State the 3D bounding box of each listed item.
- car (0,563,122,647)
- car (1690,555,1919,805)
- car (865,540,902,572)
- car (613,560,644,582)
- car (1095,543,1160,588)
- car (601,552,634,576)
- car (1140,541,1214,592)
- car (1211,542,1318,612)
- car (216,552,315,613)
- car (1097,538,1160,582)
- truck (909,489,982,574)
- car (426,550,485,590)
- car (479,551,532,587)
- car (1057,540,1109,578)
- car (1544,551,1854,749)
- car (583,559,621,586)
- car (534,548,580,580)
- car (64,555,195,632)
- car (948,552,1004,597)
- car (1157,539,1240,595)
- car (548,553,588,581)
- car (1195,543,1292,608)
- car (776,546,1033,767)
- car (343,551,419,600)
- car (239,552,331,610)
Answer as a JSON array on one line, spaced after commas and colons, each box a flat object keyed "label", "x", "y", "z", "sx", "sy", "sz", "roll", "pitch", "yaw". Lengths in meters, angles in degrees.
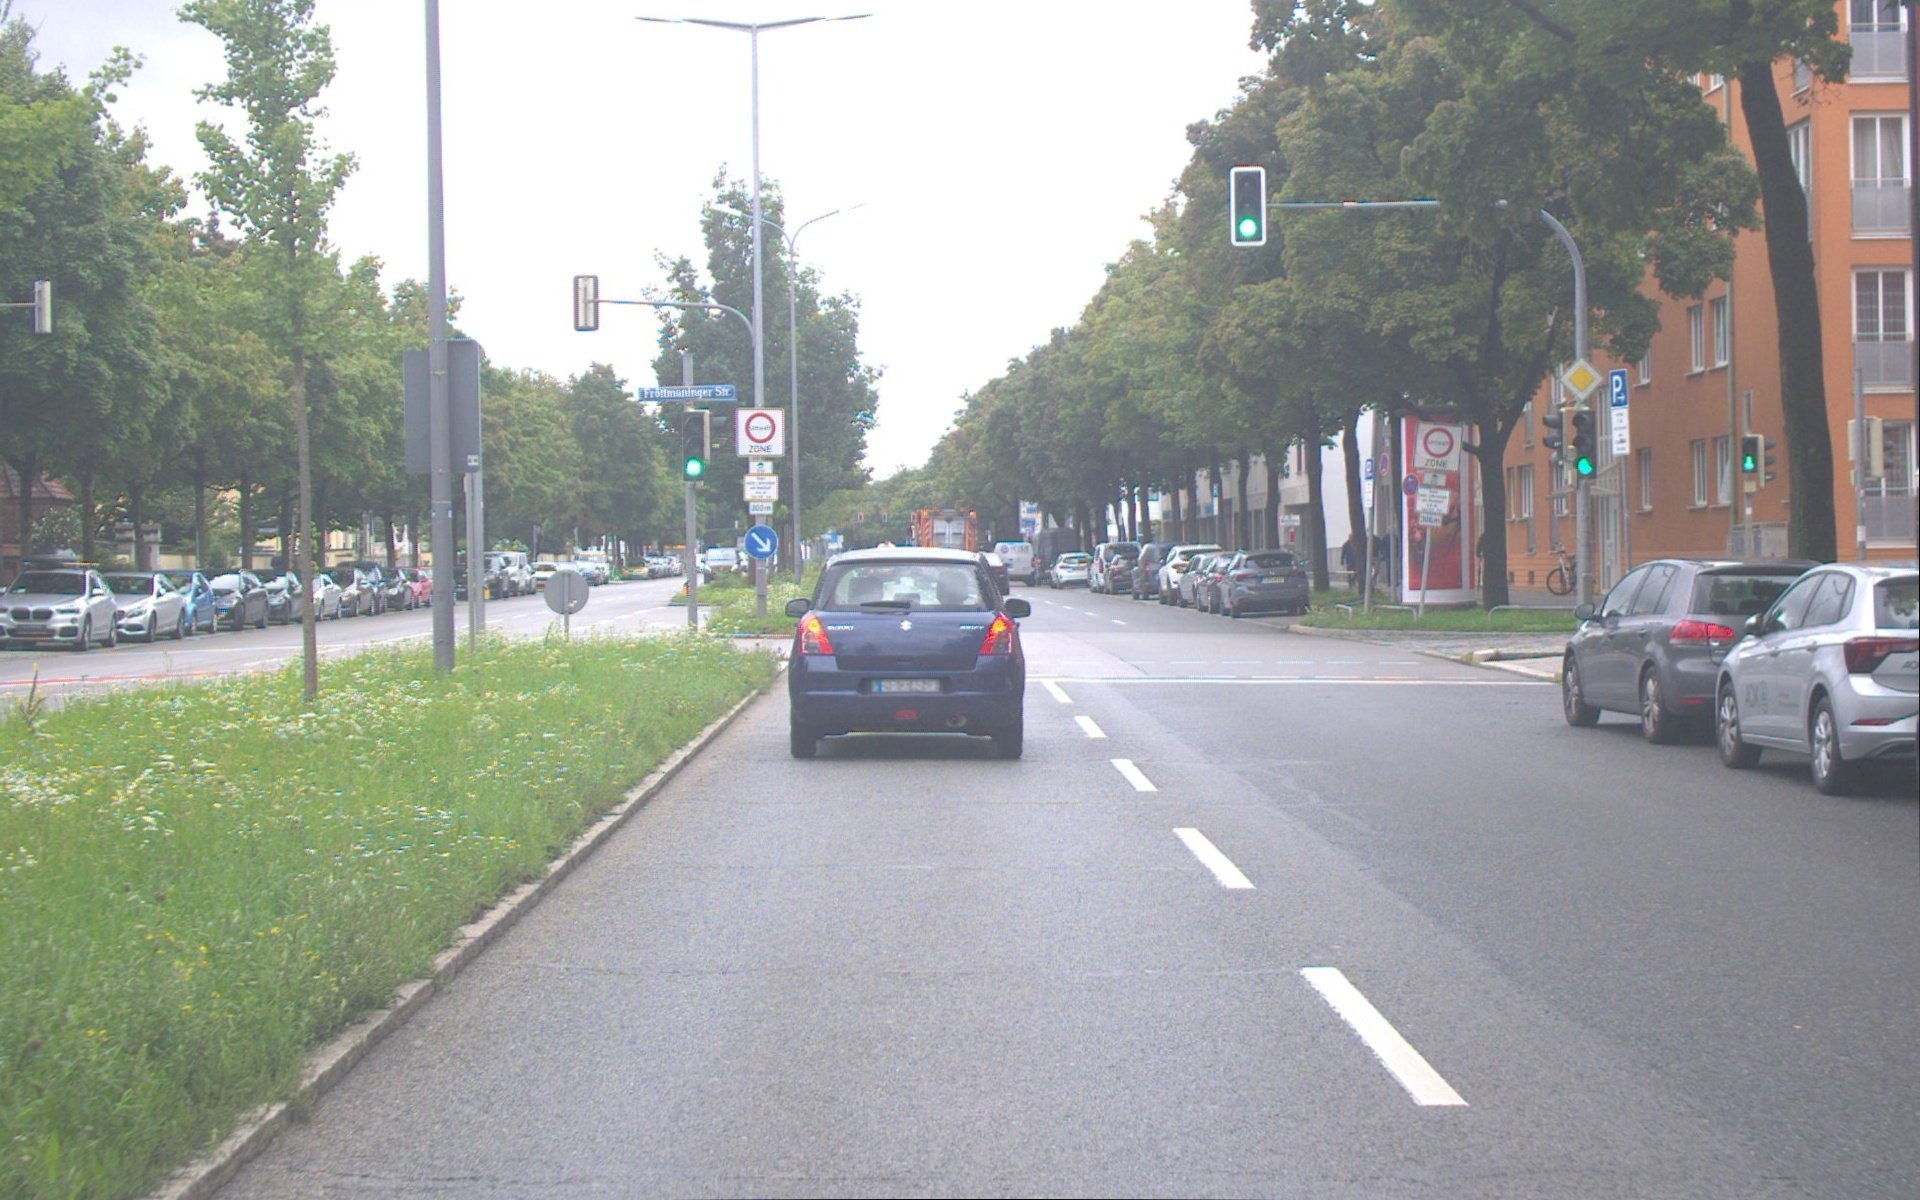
[{"label": "car", "x": -17.507, "y": 0.077, "z": 66.167, "sx": 1.801, "sy": 1.529, "sz": 4.000, "roll": -1, "pitch": 1, "yaw": -1}, {"label": "car", "x": 6.023, "y": 0.449, "z": 22.453, "sx": 1.695, "sy": 1.447, "sz": 4.123, "roll": -1, "pitch": 1, "yaw": 1}, {"label": "car", "x": -3.635, "y": -2.107, "z": 164.383, "sx": 1.718, "sy": 1.495, "sz": 4.301, "roll": 0, "pitch": 1, "yaw": -1}, {"label": "car", "x": -23.529, "y": -2.062, "z": 243.972, "sx": 1.801, "sy": 1.529, "sz": 4.000, "roll": -1, "pitch": 1, "yaw": -1}, {"label": "car", "x": 5.797, "y": -1.216, "z": 119.454, "sx": 1.993, "sy": 1.525, "sz": 4.000, "roll": -1, "pitch": 1, "yaw": -1}, {"label": "car", "x": -22.232, "y": -2.364, "z": 223.296, "sx": 1.801, "sy": 1.529, "sz": 4.000, "roll": -1, "pitch": 1, "yaw": -1}, {"label": "car", "x": 6.727, "y": -1.063, "z": 106.845, "sx": 1.993, "sy": 1.525, "sz": 4.000, "roll": -1, "pitch": 1, "yaw": -1}, {"label": "car", "x": 6.878, "y": -0.535, "z": 78.009, "sx": 1.993, "sy": 1.525, "sz": 4.000, "roll": -1, "pitch": 1, "yaw": -1}, {"label": "car", "x": -18.173, "y": -0.481, "z": 90.111, "sx": 1.801, "sy": 1.529, "sz": 4.000, "roll": -1, "pitch": 1, "yaw": -1}, {"label": "car", "x": 6.064, "y": -1.451, "z": 124.198, "sx": 1.993, "sy": 1.525, "sz": 4.000, "roll": -1, "pitch": 1, "yaw": -1}, {"label": "truck", "x": -0.576, "y": -2.965, "z": 149.171, "sx": 3.041, "sy": 3.545, "sz": 13.675, "roll": 0, "pitch": 1, "yaw": 0}, {"label": "car", "x": -20.060, "y": -1.221, "z": 136.828, "sx": 1.801, "sy": 1.529, "sz": 4.000, "roll": -1, "pitch": 1, "yaw": -1}, {"label": "car", "x": -19.794, "y": -1.348, "z": 149.771, "sx": 1.801, "sy": 1.529, "sz": 4.000, "roll": -1, "pitch": 1, "yaw": -1}, {"label": "car", "x": 5.104, "y": -1.715, "z": 143.098, "sx": 1.993, "sy": 1.525, "sz": 4.000, "roll": -1, "pitch": 1, "yaw": -1}, {"label": "car", "x": 5.900, "y": 0.348, "z": 27.895, "sx": 1.695, "sy": 1.447, "sz": 4.123, "roll": -1, "pitch": 1, "yaw": 1}, {"label": "car", "x": -20.554, "y": -1.595, "z": 197.455, "sx": 1.801, "sy": 1.529, "sz": 4.000, "roll": -1, "pitch": 1, "yaw": -1}, {"label": "car", "x": -19.731, "y": -1.784, "z": 168.411, "sx": 1.801, "sy": 1.529, "sz": 4.000, "roll": -1, "pitch": 1, "yaw": -1}, {"label": "car", "x": -17.505, "y": -0.165, "z": 72.610, "sx": 1.801, "sy": 1.529, "sz": 4.000, "roll": -1, "pitch": 1, "yaw": -1}, {"label": "car", "x": 0.545, "y": -0.905, "z": 119.112, "sx": 1.821, "sy": 1.472, "sz": 4.691, "roll": 1, "pitch": 1, "yaw": -1}, {"label": "car", "x": 6.645, "y": -0.933, "z": 96.244, "sx": 1.993, "sy": 1.525, "sz": 4.000, "roll": -1, "pitch": 1, "yaw": -1}, {"label": "car", "x": -21.645, "y": -1.824, "z": 189.954, "sx": 1.801, "sy": 1.529, "sz": 4.000, "roll": -1, "pitch": 1, "yaw": -1}, {"label": "car", "x": 6.896, "y": -0.620, "z": 83.998, "sx": 1.993, "sy": 1.525, "sz": 4.000, "roll": -1, "pitch": 1, "yaw": -1}, {"label": "car", "x": -0.374, "y": 0.357, "z": 25.612, "sx": 1.753, "sy": 1.499, "sz": 4.000, "roll": 0, "pitch": 1, "yaw": 0}, {"label": "car", "x": -18.659, "y": -0.799, "z": 110.863, "sx": 1.801, "sy": 1.529, "sz": 4.000, "roll": 0, "pitch": 1, "yaw": -1}, {"label": "car", "x": -18.649, "y": -0.533, "z": 95.126, "sx": 1.801, "sy": 1.529, "sz": 4.000, "roll": -1, "pitch": 1, "yaw": -1}]
